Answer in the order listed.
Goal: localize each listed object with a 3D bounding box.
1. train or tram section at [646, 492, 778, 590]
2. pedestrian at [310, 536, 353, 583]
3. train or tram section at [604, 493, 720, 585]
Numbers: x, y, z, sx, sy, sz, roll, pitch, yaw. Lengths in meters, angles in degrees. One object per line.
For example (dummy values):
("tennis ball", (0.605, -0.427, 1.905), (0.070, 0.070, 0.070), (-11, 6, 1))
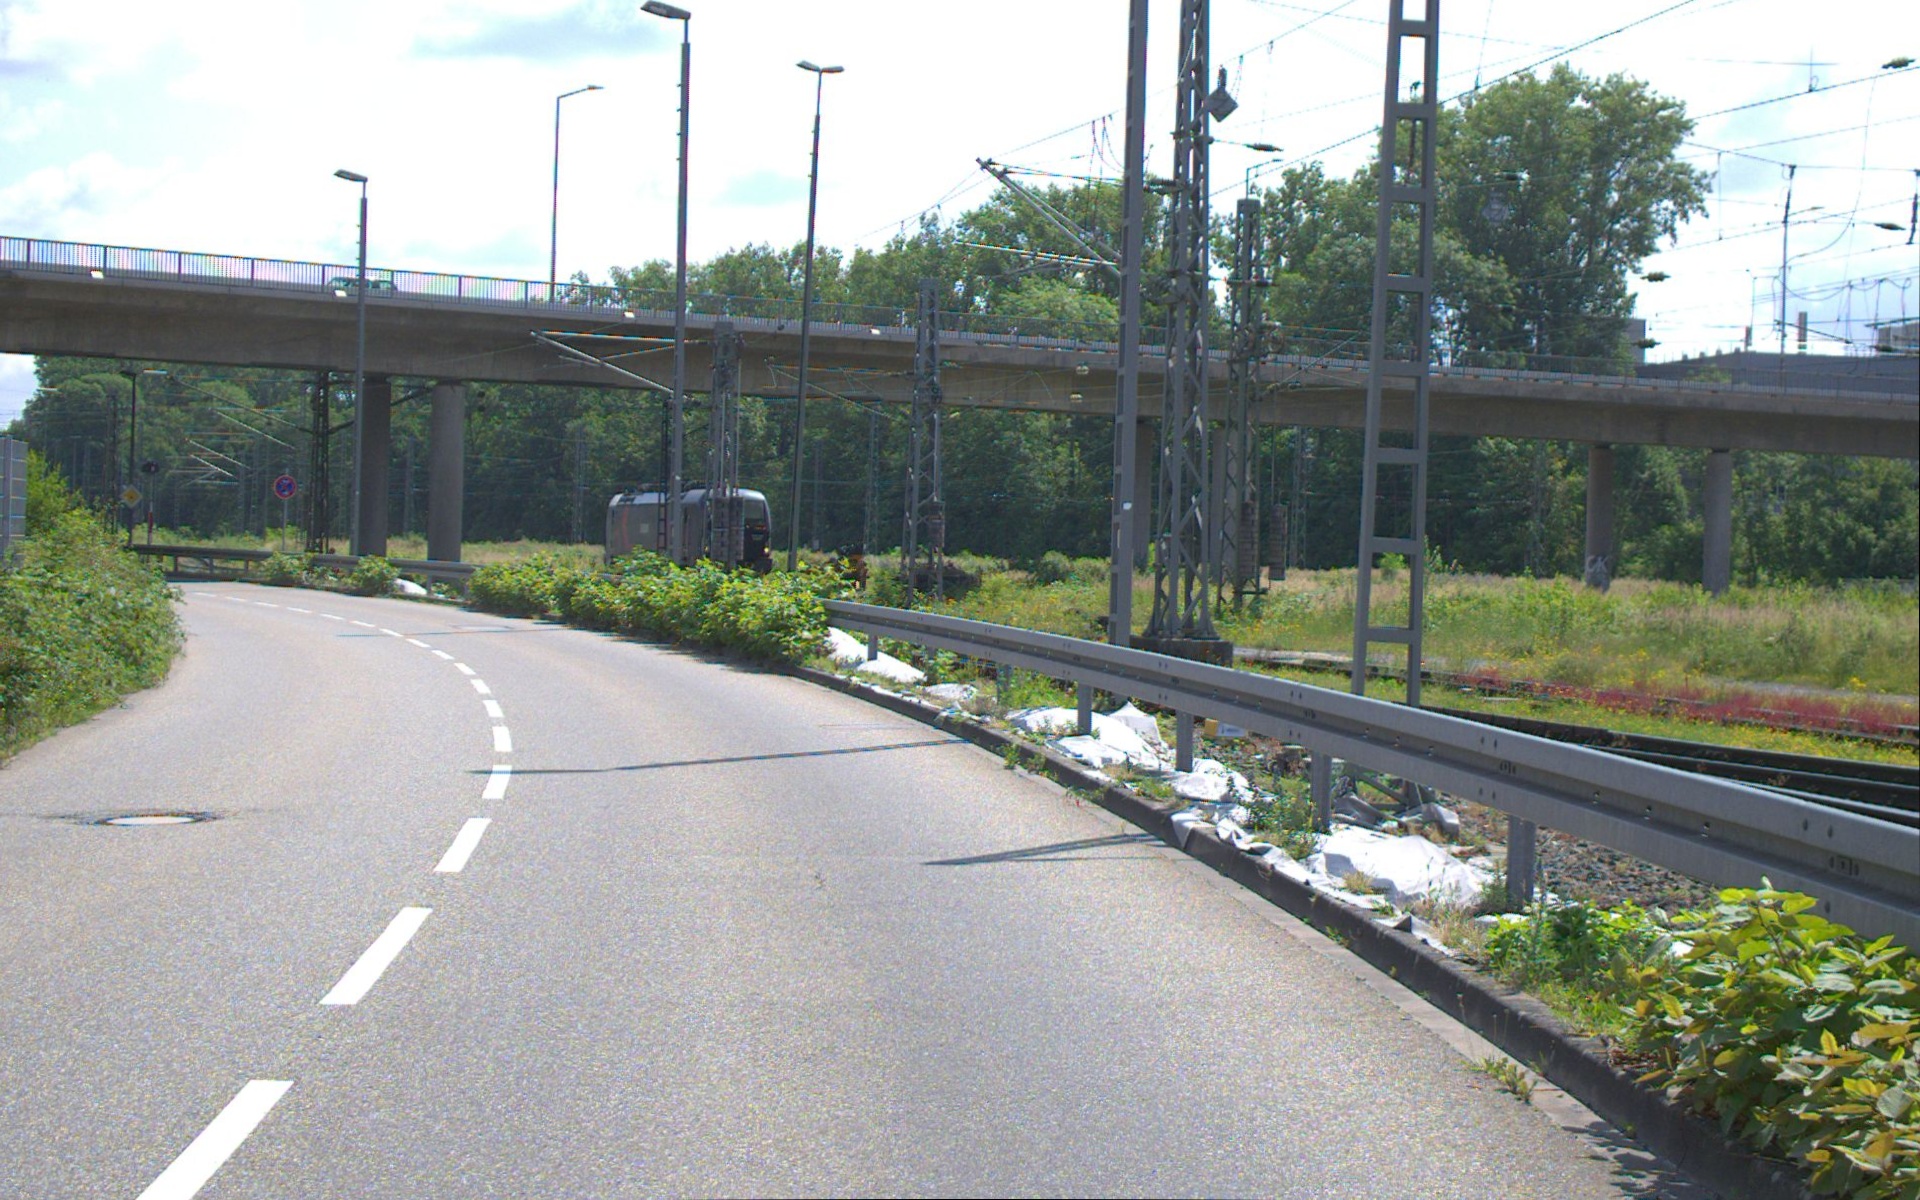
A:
("train or tram section", (-9.388, -2.199, 128.936), (2.889, 3.497, 8.568), (1, 0, -18))
("pedestrian", (-21.098, -1.353, 115.401), (1.110, 1.534, 1.580), (1, 0, -21))
("train or tram section", (-11.938, -2.403, 136.947), (2.755, 3.465, 8.242), (1, 0, -18))
